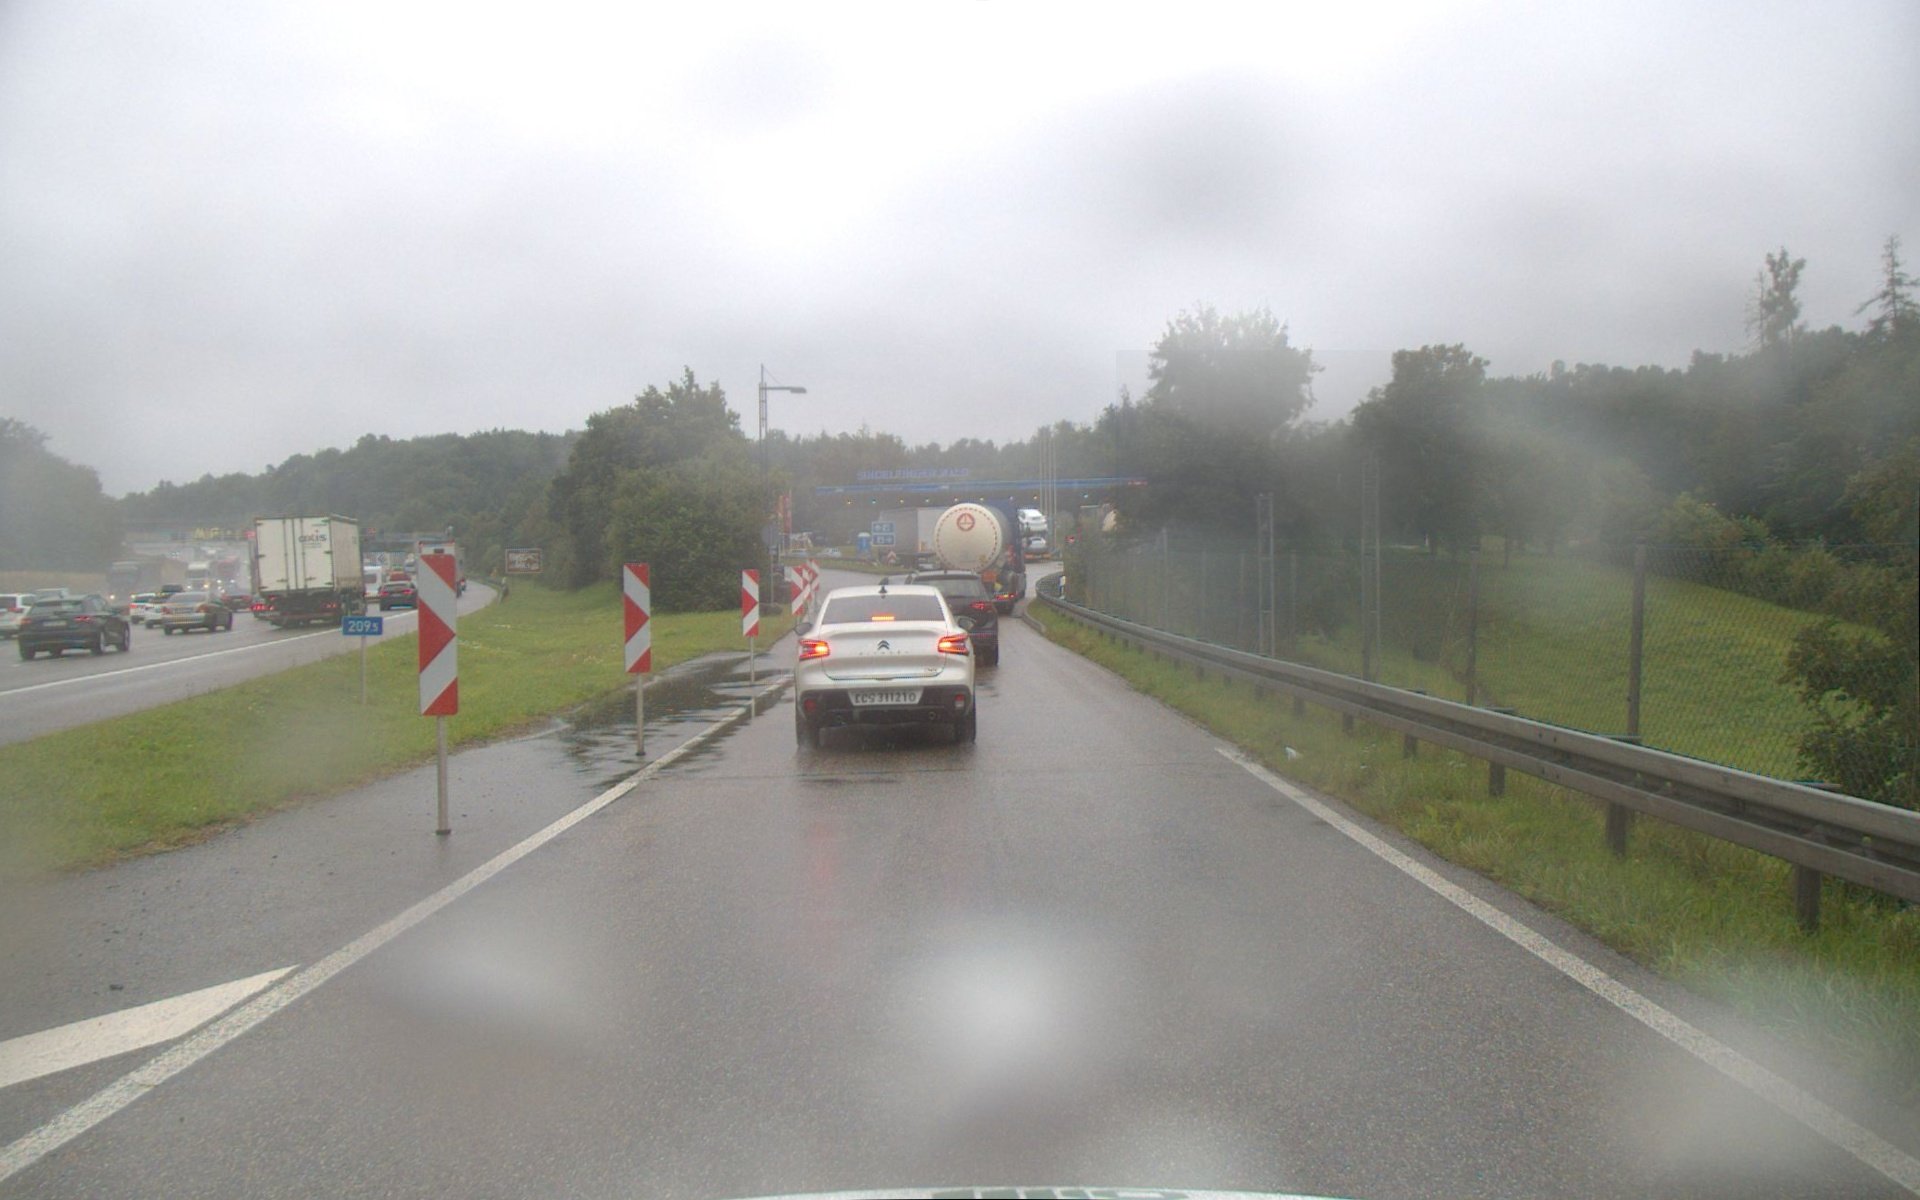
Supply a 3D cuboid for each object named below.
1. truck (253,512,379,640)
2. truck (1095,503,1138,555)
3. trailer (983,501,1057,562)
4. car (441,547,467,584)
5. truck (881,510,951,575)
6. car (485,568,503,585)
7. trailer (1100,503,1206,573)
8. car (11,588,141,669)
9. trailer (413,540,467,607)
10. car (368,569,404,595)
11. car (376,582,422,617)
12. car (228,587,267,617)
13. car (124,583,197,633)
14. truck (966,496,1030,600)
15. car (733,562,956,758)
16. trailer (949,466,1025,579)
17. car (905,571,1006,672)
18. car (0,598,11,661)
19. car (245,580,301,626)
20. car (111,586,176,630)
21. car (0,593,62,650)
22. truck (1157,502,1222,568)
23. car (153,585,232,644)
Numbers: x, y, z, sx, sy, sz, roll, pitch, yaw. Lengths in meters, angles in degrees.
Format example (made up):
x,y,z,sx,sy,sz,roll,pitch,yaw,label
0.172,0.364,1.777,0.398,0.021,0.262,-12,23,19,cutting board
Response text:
x,y,z,sx,sy,sz,roll,pitch,yaw,label
-24.439,-0.856,63.372,2.801,4.367,11.800,-2,1,-14,truck
12.107,-5.487,127.830,2.380,3.871,3.995,-3,3,-7,truck
4.301,-5.057,122.465,3.157,4.261,11.505,-1,3,-10,trailer
-49.503,-3.324,161.722,2.336,3.546,4.790,1,0,-18,car
-3.027,-3.845,110.011,2.329,3.940,12.420,-3,3,-12,truck
-58.954,-2.947,209.250,1.964,2.049,3.977,1,0,-20,car
10.409,-3.380,88.122,2.090,3.500,10.243,-1,3,27,trailer
-21.367,0.640,40.110,1.745,1.766,3.834,-3,1,-13,car
-39.778,-1.954,126.317,3.494,4.692,12.056,-3,1,-18,trailer
-41.378,-1.280,119.303,1.958,1.847,3.989,0,1,-11,car
-30.390,-0.046,89.643,1.960,1.847,3.986,-1,1,-14,car
-45.426,0.118,105.516,1.670,1.818,3.770,-2,1,-15,car
-34.665,0.316,71.772,1.960,2.048,3.986,-3,1,-14,car
1.443,-1.927,60.559,2.009,3.592,4.750,-1,2,4,truck
-1.114,0.508,16.724,1.954,1.708,3.998,-1,1,-3,car
0.998,-2.495,53.842,1.939,3.280,10.329,-1,2,4,trailer
-0.112,0.352,29.989,1.707,1.696,3.999,0,0,-1,car
-27.581,0.884,45.086,1.745,1.766,4.087,-2,1,-12,car
-32.694,0.122,78.787,1.962,2.048,3.982,-3,1,-17,car
-40.718,0.372,82.578,1.960,2.048,3.986,-3,1,-14,car
-35.939,0.801,63.017,1.960,2.048,3.986,-3,1,-13,car
12.938,-3.702,93.086,2.105,3.573,4.642,-1,2,27,truck
-27.384,0.487,59.154,1.758,2.005,4.318,-1,1,-14,car
